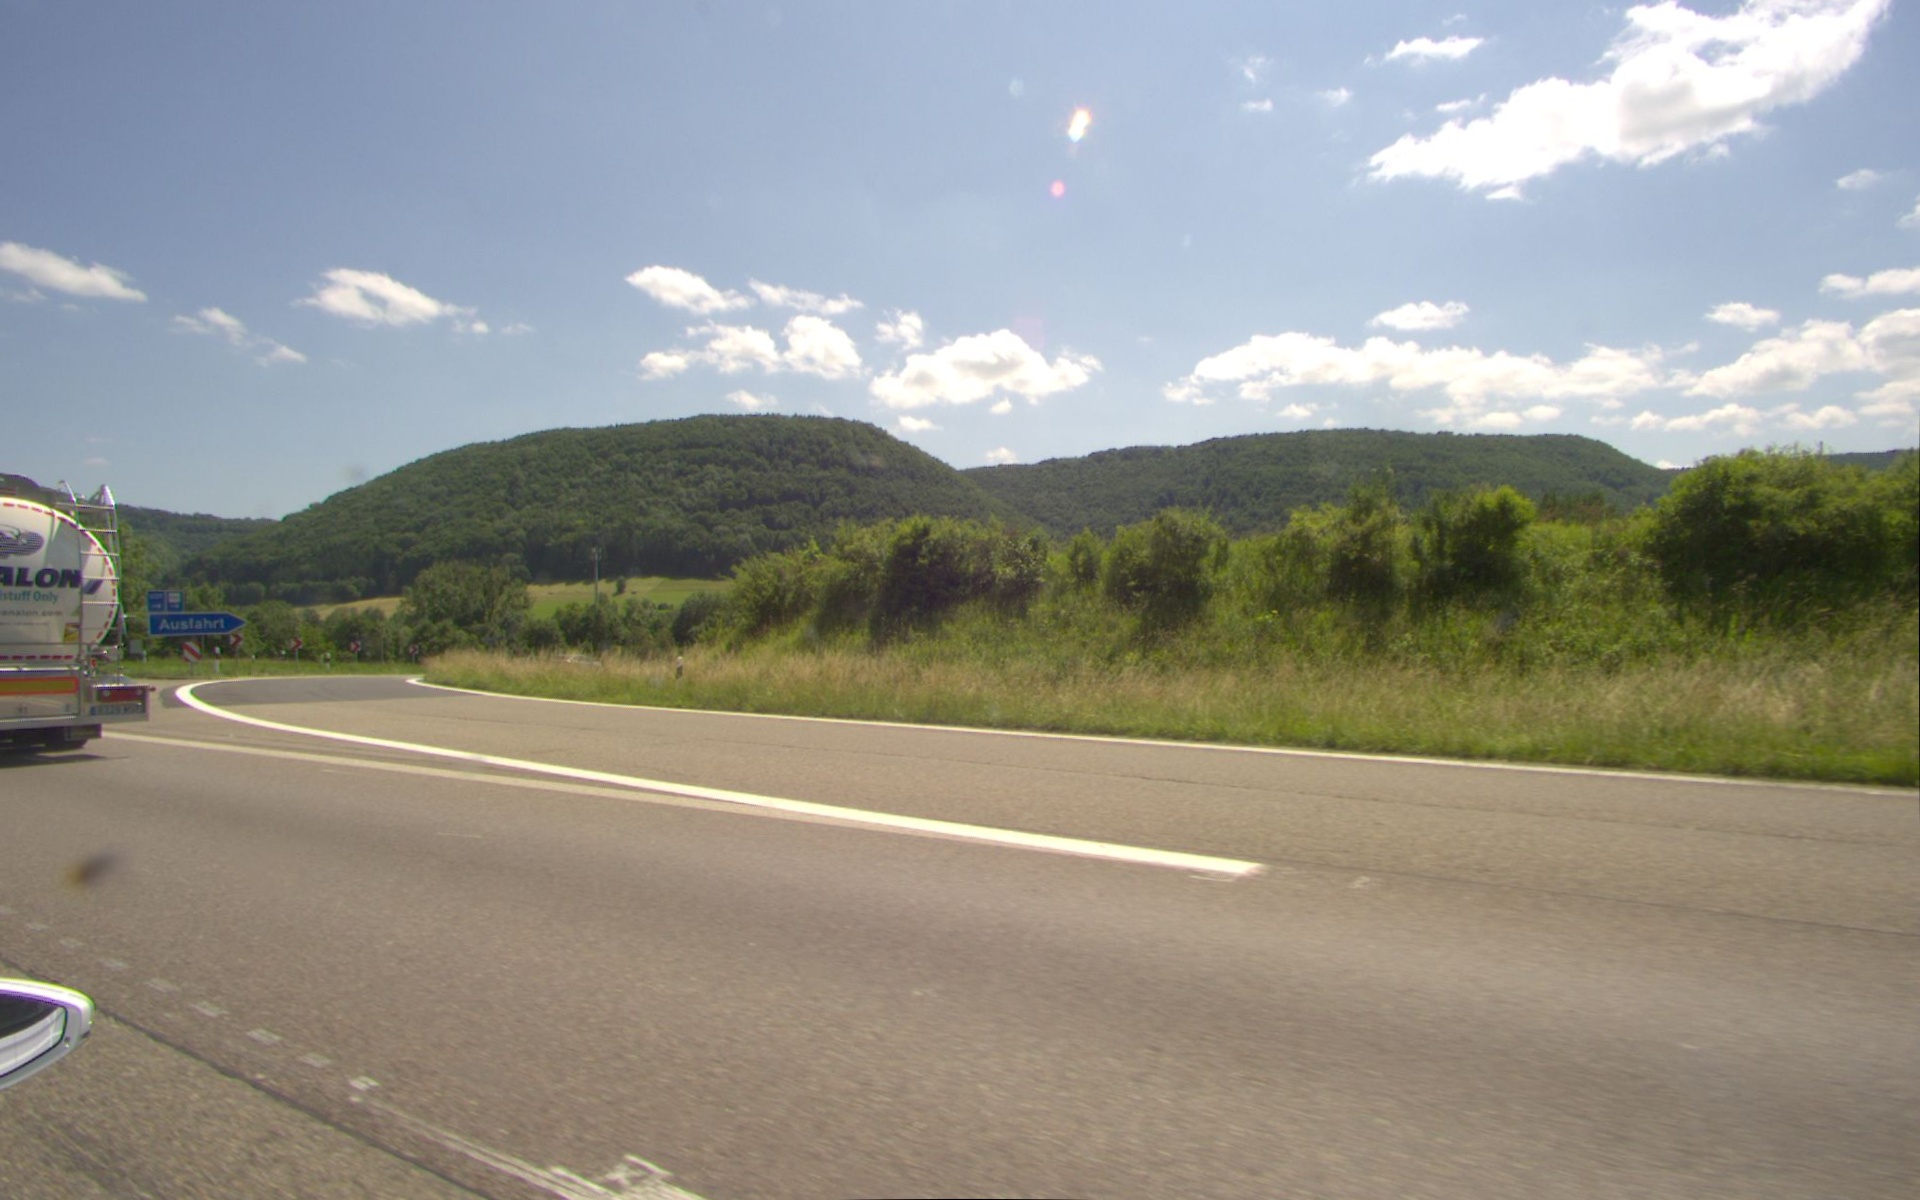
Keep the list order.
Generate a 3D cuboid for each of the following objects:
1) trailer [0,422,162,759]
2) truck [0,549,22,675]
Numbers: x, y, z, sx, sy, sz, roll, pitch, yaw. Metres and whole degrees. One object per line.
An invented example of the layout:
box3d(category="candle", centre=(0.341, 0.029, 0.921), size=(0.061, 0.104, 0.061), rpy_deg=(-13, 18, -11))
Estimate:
box3d(category="trailer", centre=(-15.632, -0.001, 14.560), size=(11.720, 3.784, 2.533), rpy_deg=(-1, -1, 32))
box3d(category="truck", centre=(-37.644, 0.513, 35.682), size=(14.746, 4.055, 2.811), rpy_deg=(-1, -1, 33))
